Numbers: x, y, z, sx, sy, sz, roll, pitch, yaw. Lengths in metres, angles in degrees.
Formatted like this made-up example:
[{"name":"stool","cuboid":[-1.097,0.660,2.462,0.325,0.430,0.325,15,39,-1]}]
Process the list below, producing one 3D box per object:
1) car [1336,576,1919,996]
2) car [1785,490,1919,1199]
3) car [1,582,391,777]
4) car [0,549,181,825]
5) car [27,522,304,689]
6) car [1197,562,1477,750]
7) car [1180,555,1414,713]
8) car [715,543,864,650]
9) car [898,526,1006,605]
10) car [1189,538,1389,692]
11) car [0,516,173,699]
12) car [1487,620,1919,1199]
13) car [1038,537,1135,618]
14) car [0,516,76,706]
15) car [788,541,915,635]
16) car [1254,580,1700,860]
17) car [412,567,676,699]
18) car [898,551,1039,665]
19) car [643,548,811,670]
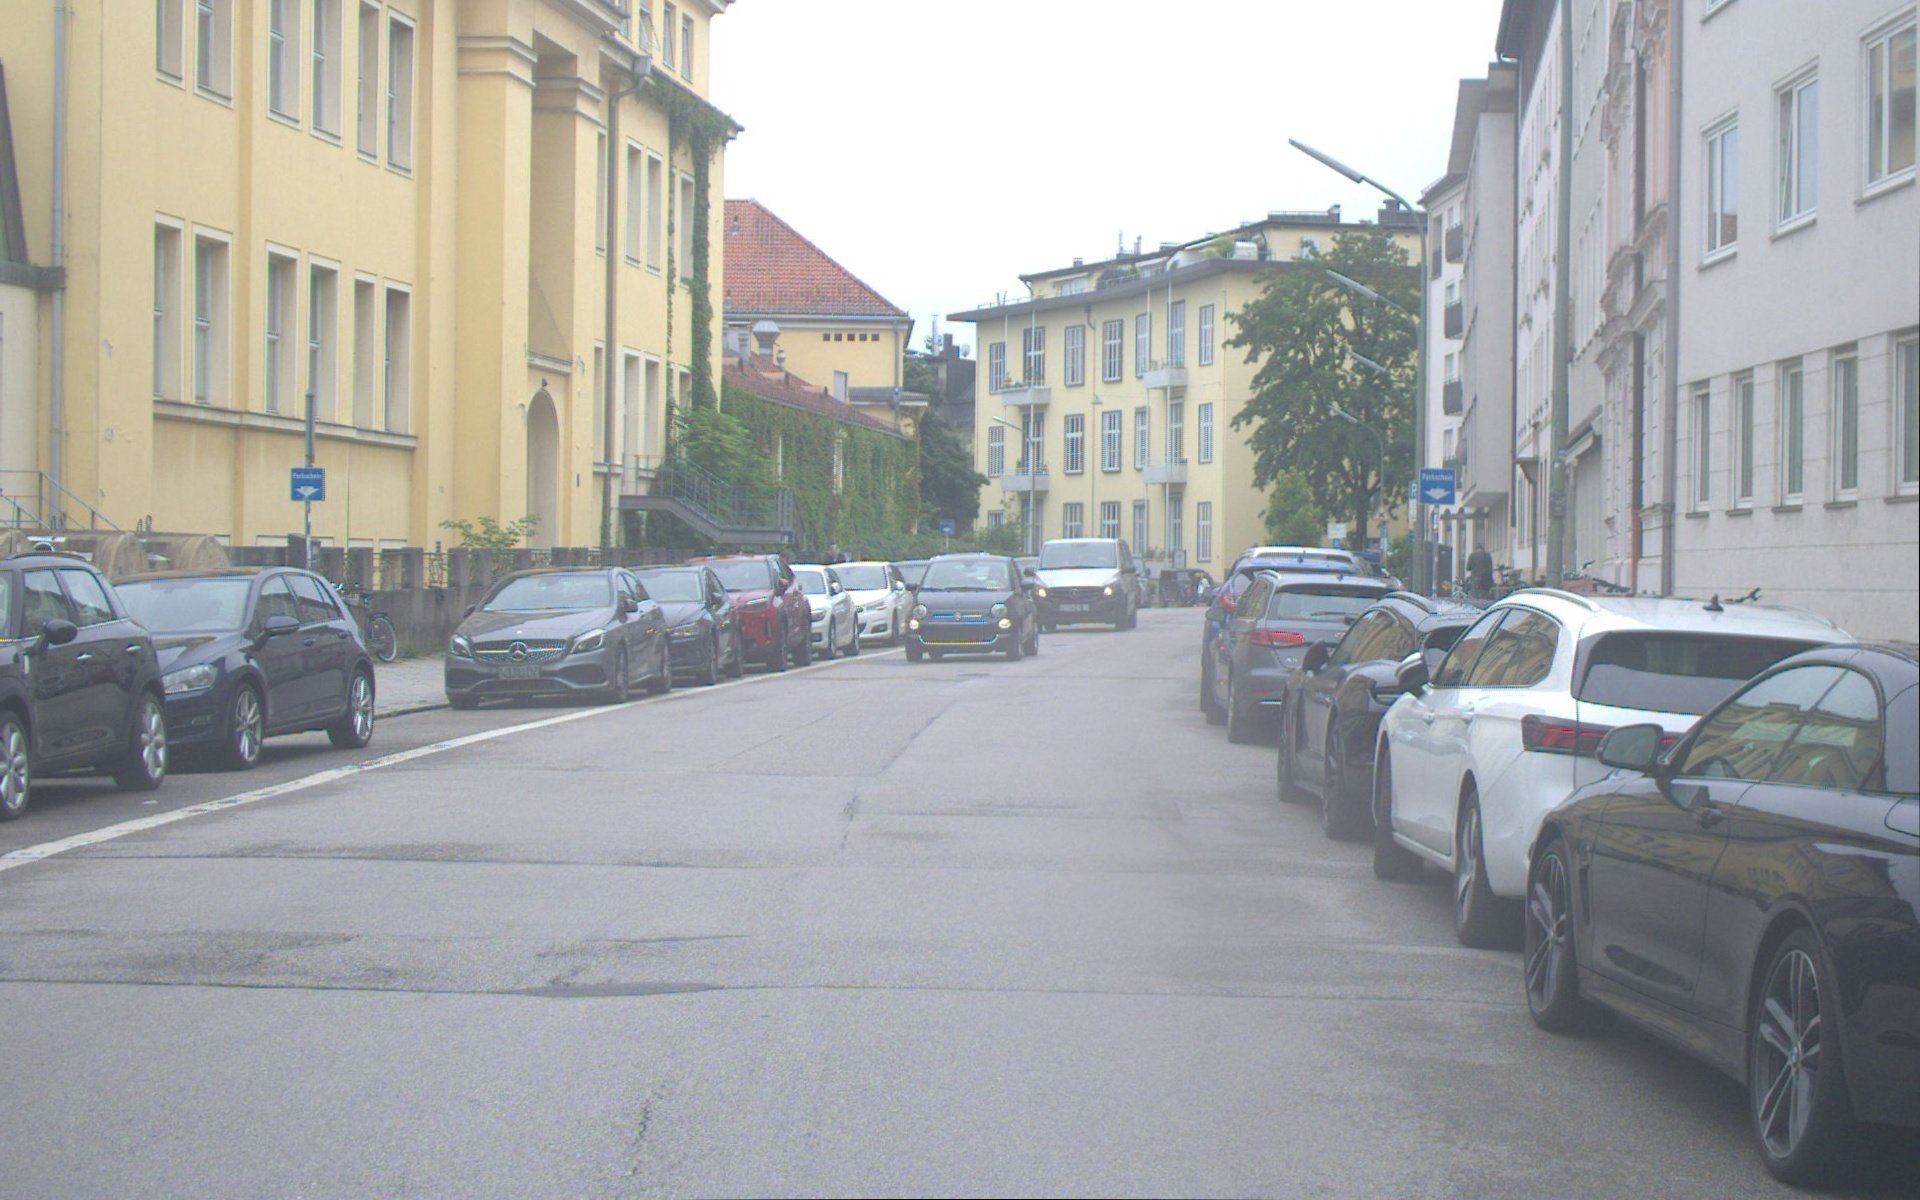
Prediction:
[{"name":"car","cuboid":[2.921,0.679,15.105,1.887,1.470,4.744,3,1,-1]},{"name":"car","cuboid":[2.704,0.703,4.356,1.964,1.596,4.672,2,2,-3]},{"name":"car","cuboid":[-5.575,0.533,25.517,1.529,1.198,3.740,3,2,9]},{"name":"car","cuboid":[-6.102,0.454,20.801,1.699,1.448,3.741,3,2,3]},{"name":"car","cuboid":[-8.651,0.011,37.735,1.720,1.655,3.747,3,2,7]},{"name":"car","cuboid":[3.132,0.424,29.407,1.887,1.405,4.431,3,1,1]},{"name":"car","cuboid":[3.302,0.300,34.484,1.887,1.405,4.431,3,1,1]},{"name":"car","cuboid":[-2.506,-0.084,51.370,1.698,1.439,3.508,3,2,5]},{"name":"car","cuboid":[-0.141,-0.776,74.003,1.994,1.543,4.000,3,2,4]},{"name":"car","cuboid":[3.788,0.146,40.285,1.887,1.624,4.431,3,1,1]},{"name":"car","cuboid":[-9.080,0.036,33.995,1.606,1.655,2.808,3,2,7]},{"name":"car","cuboid":[2.860,0.837,9.822,1.887,1.317,4.275,2,2,-2]},{"name":"car","cuboid":[2.516,-0.461,67.821,1.698,1.439,3.508,3,2,4]},{"name":"car","cuboid":[-9.408,0.081,30.525,1.720,1.655,3.747,3,2,7]},{"name":"car","cuboid":[-1.826,-0.229,58.797,1.698,1.439,3.508,3,2,5]},{"name":"car","cuboid":[2.967,0.632,20.683,1.887,1.405,4.431,3,1,-1]},{"name":"car","cuboid":[-4.285,0.299,36.045,1.900,1.143,4.230,3,2,5]},{"name":"car","cuboid":[0.150,0.086,49.090,1.698,1.439,3.508,3,2,4]},{"name":"car","cuboid":[-3.064,0.086,45.803,1.698,1.439,3.508,3,2,4]}]
